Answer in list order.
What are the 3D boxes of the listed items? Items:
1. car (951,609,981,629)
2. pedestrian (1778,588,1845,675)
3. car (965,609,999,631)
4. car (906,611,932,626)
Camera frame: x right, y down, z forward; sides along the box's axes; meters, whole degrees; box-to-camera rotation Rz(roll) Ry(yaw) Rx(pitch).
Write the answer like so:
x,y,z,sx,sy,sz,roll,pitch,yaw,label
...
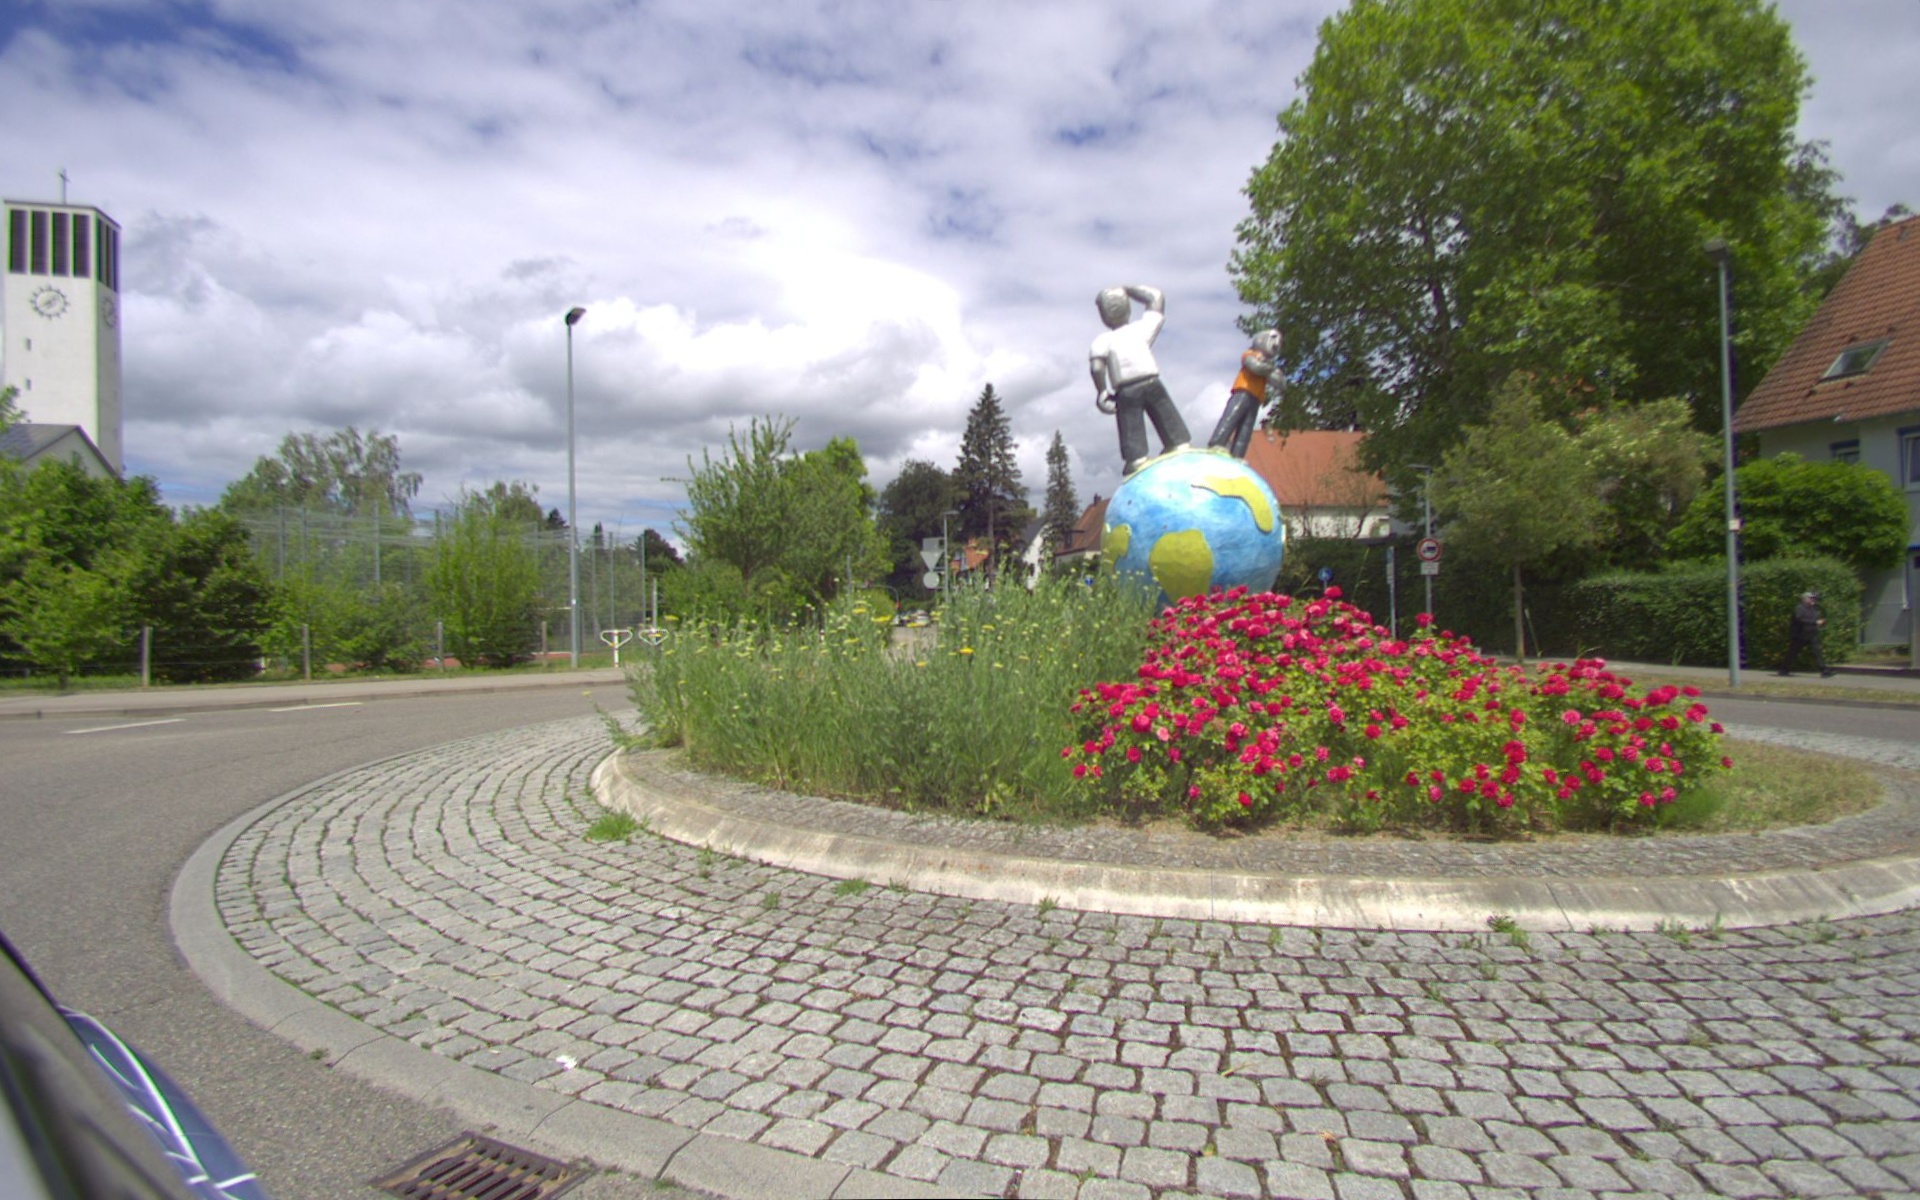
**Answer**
x,y,z,sx,sy,sz,roll,pitch,yaw,label
0.449,1.576,86.060,1.758,1.589,4.009,-1,0,-11,car
17.225,0.630,20.491,0.734,1.704,0.696,-1,0,-10,pedestrian
1.709,1.552,80.703,1.833,1.589,4.009,-1,0,-11,car
-4.489,2.020,111.270,1.966,1.719,4.012,0,-1,-16,car
